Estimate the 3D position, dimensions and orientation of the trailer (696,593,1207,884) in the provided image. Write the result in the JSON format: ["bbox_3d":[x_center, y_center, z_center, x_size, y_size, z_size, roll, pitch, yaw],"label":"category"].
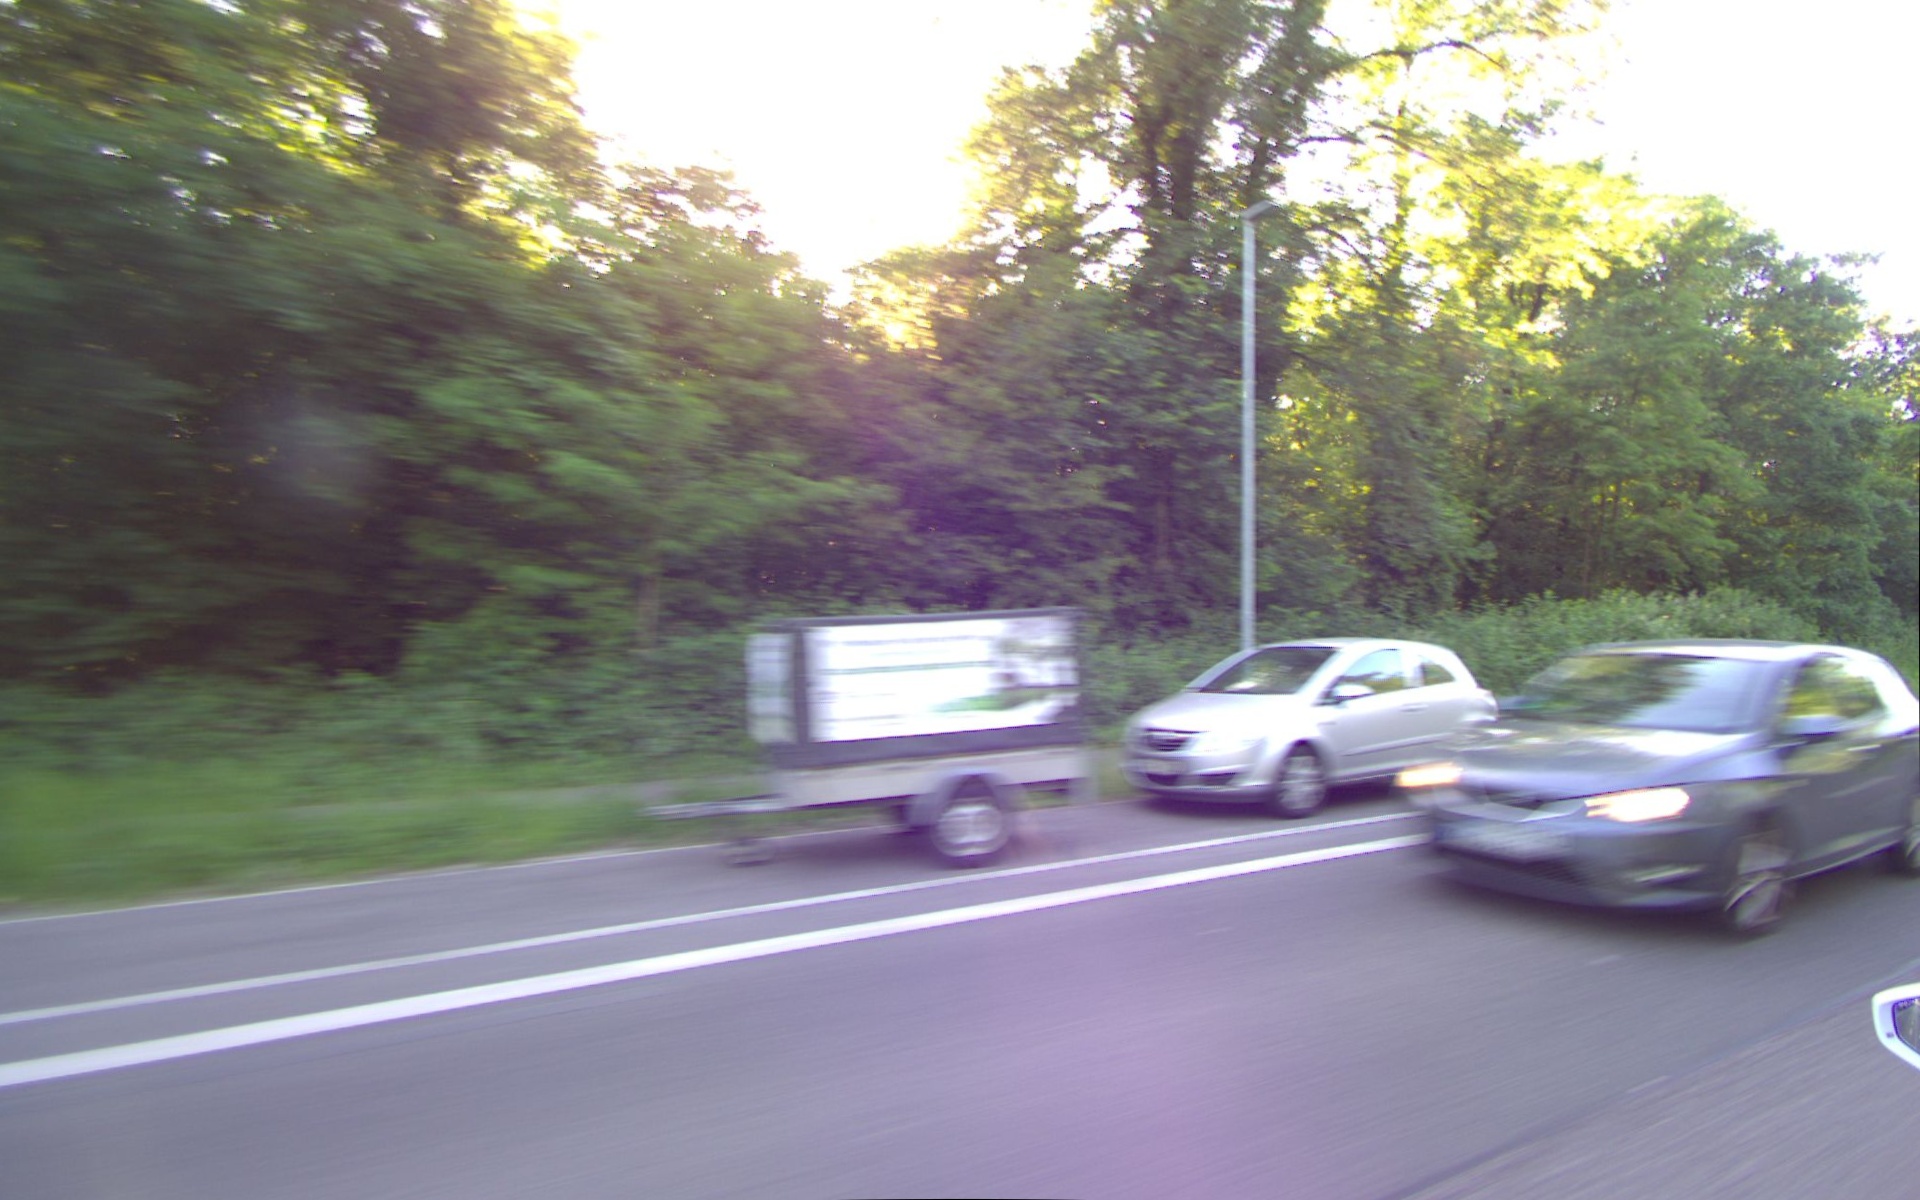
[{"bbox_3d":[-0.100,0.870,7.058,3.312,1.681,1.470,1,-3,-18],"label":"trailer"}]

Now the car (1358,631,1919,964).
[{"bbox_3d":[4.433,0.926,6.130,3.953,1.434,1.671,1,-1,-30],"label":"car"}]

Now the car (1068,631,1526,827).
[{"bbox_3d":[3.227,1.074,9.487,4.084,1.482,1.859,1,-4,-30],"label":"car"}]
